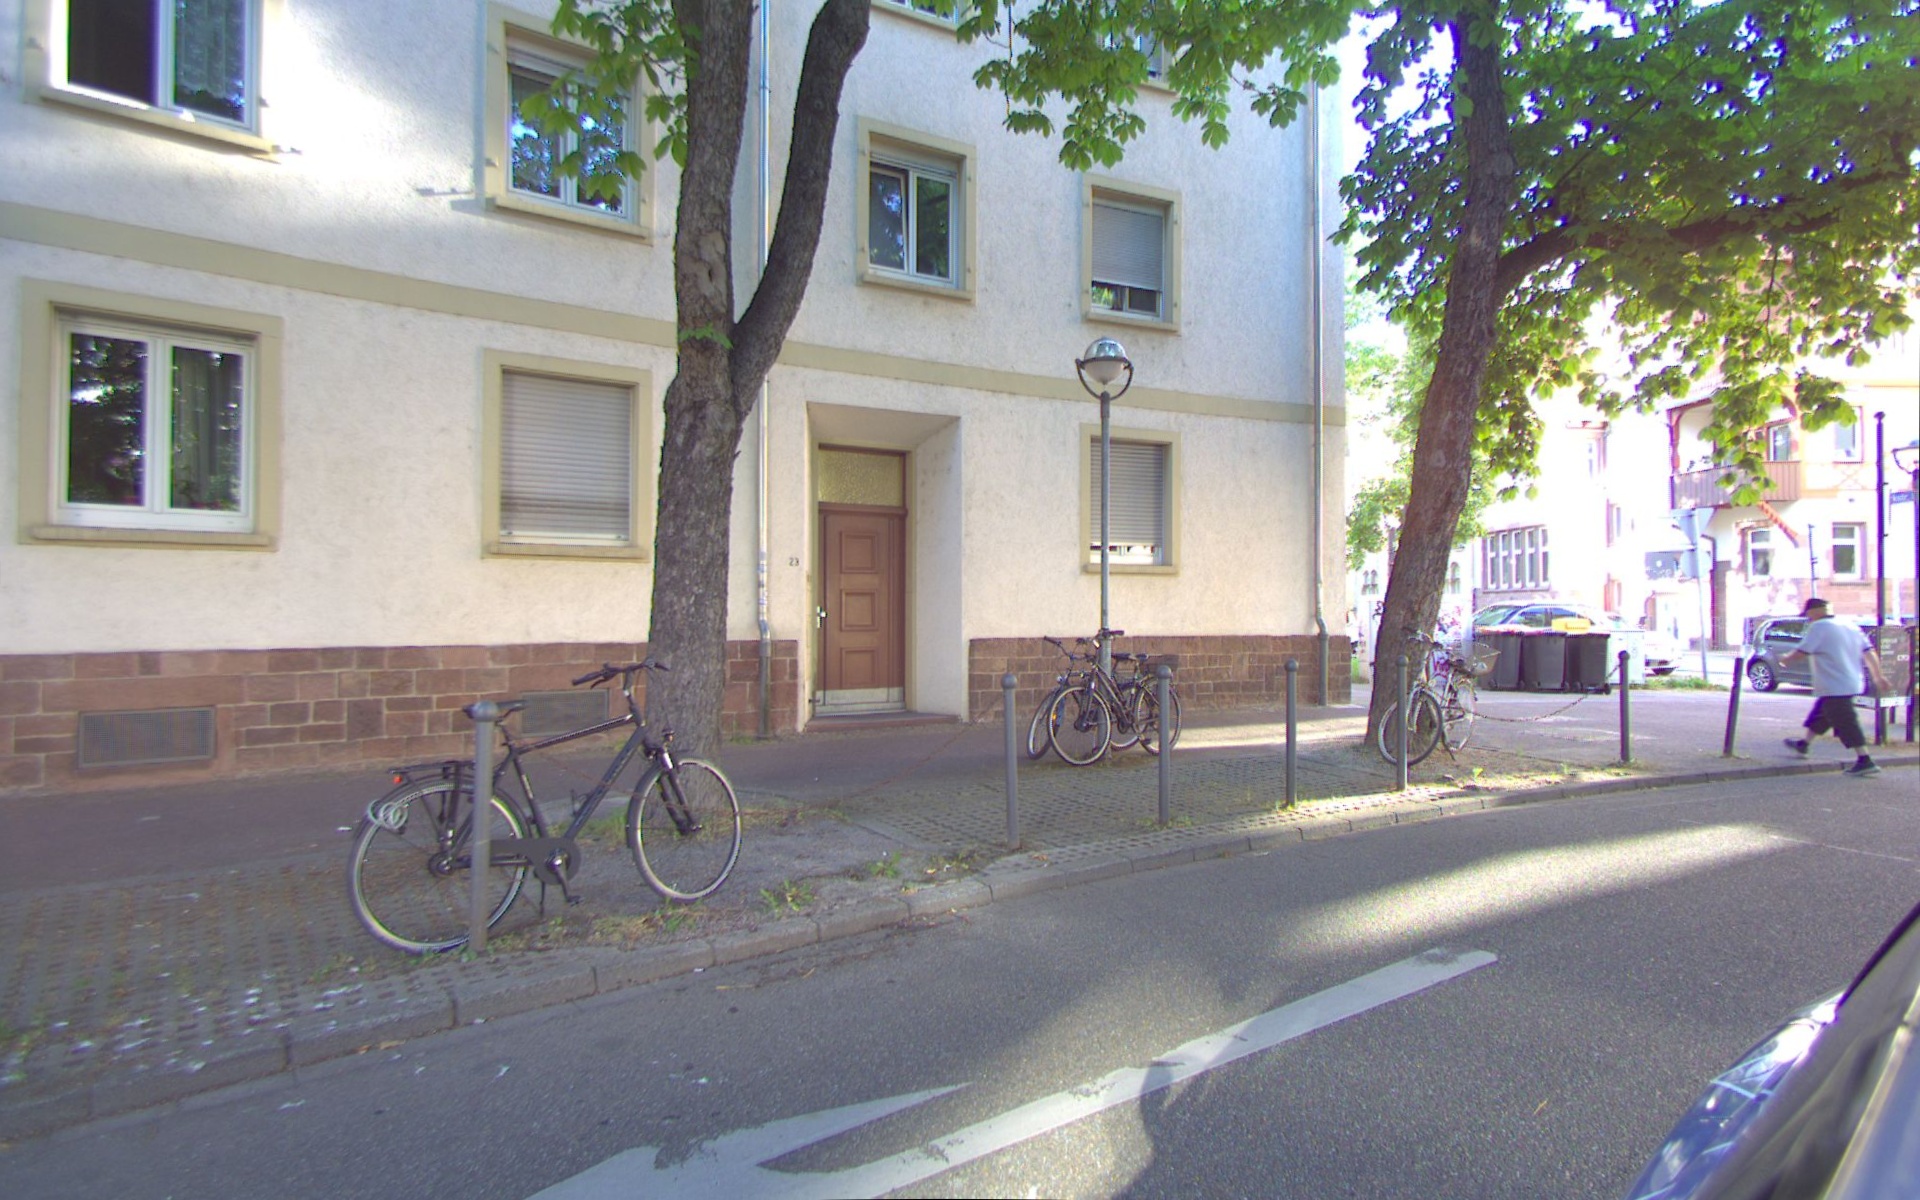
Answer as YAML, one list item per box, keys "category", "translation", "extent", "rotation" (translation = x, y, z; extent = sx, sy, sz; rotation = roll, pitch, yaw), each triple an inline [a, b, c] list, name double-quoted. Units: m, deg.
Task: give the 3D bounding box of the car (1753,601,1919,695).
- category: "car"
  translation: [16.871, 0.824, 18.343]
  extent: [1.663, 1.572, 4.053]
  rotation: [0, -1, -3]

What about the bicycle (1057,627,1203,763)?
- category: "bicycle"
  translation: [1.558, 0.812, 9.107]
  extent: [1.607, 1.108, 0.334]
  rotation: [0, -1, -41]

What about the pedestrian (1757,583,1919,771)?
- category: "pedestrian"
  translation: [8.184, 0.670, 9.444]
  extent: [0.630, 1.612, 0.946]
  rotation: [0, 3, -33]

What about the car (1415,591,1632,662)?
- category: "car"
  translation: [12.014, 0.547, 21.719]
  extent: [3.728, 1.443, 1.677]
  rotation: [0, -1, -5]

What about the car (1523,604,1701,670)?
- category: "car"
  translation: [16.815, 0.915, 26.392]
  extent: [1.771, 1.572, 4.187]
  rotation: [0, -1, -3]

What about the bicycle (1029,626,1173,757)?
- category: "bicycle"
  translation: [1.339, 0.809, 9.417]
  extent: [1.607, 1.108, 0.334]
  rotation: [0, -1, -41]

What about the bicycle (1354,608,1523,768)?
- category: "bicycle"
  translation: [4.424, 0.733, 9.299]
  extent: [1.871, 1.321, 0.766]
  rotation: [0, -1, -43]

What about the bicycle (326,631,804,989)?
- category: "bicycle"
  translation: [-1.688, 0.784, 4.561]
  extent: [1.882, 1.238, 0.718]
  rotation: [0, -1, -43]

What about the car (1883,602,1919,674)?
- category: "car"
  translation: [21.608, 0.824, 21.222]
  extent: [1.463, 1.559, 3.217]
  rotation: [1, 0, -3]
